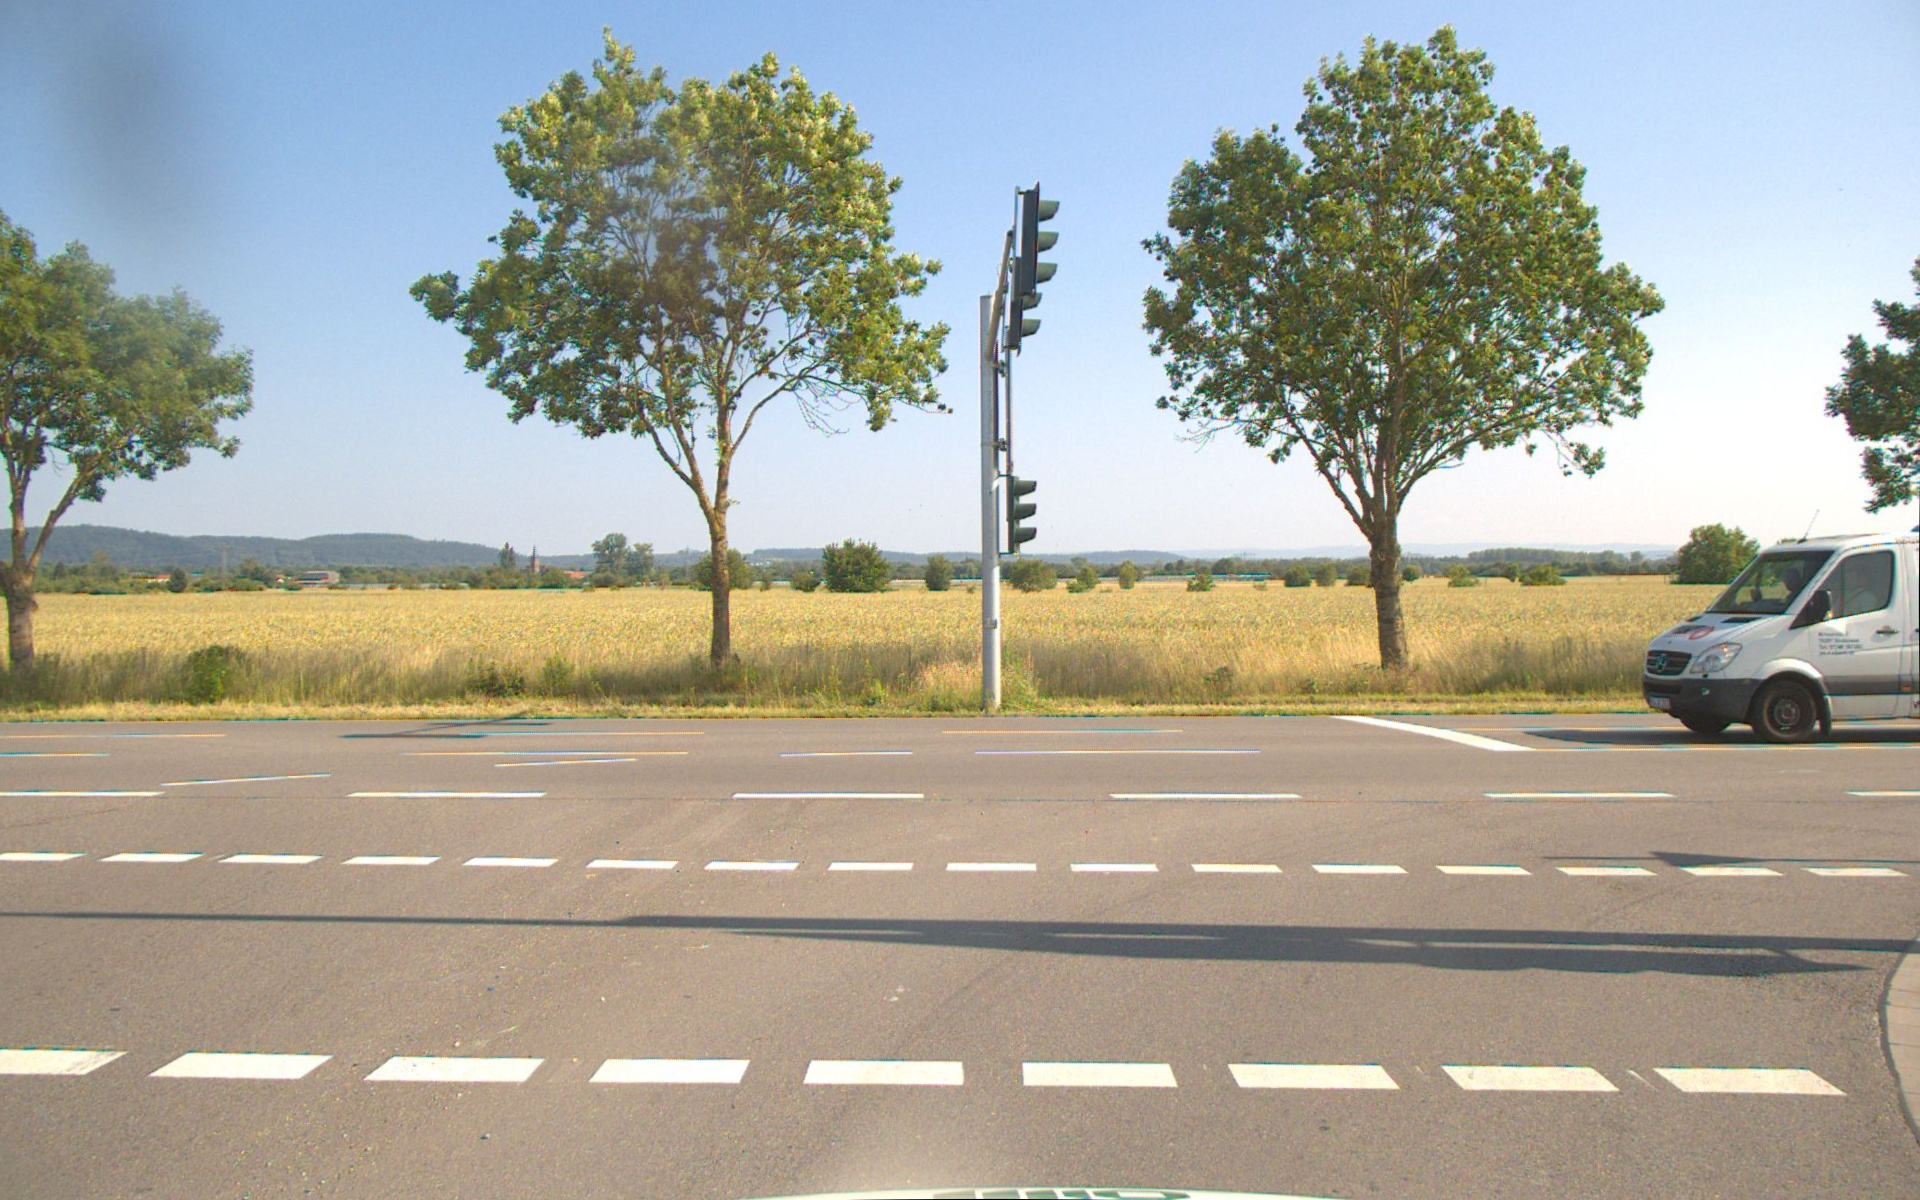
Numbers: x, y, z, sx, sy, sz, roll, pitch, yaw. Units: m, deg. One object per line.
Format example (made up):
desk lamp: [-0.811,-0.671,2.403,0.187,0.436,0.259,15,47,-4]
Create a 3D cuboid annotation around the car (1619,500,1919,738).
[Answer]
car: [10.829,0.194,18.868,5.838,2.536,1.999,0,-1,-3]
